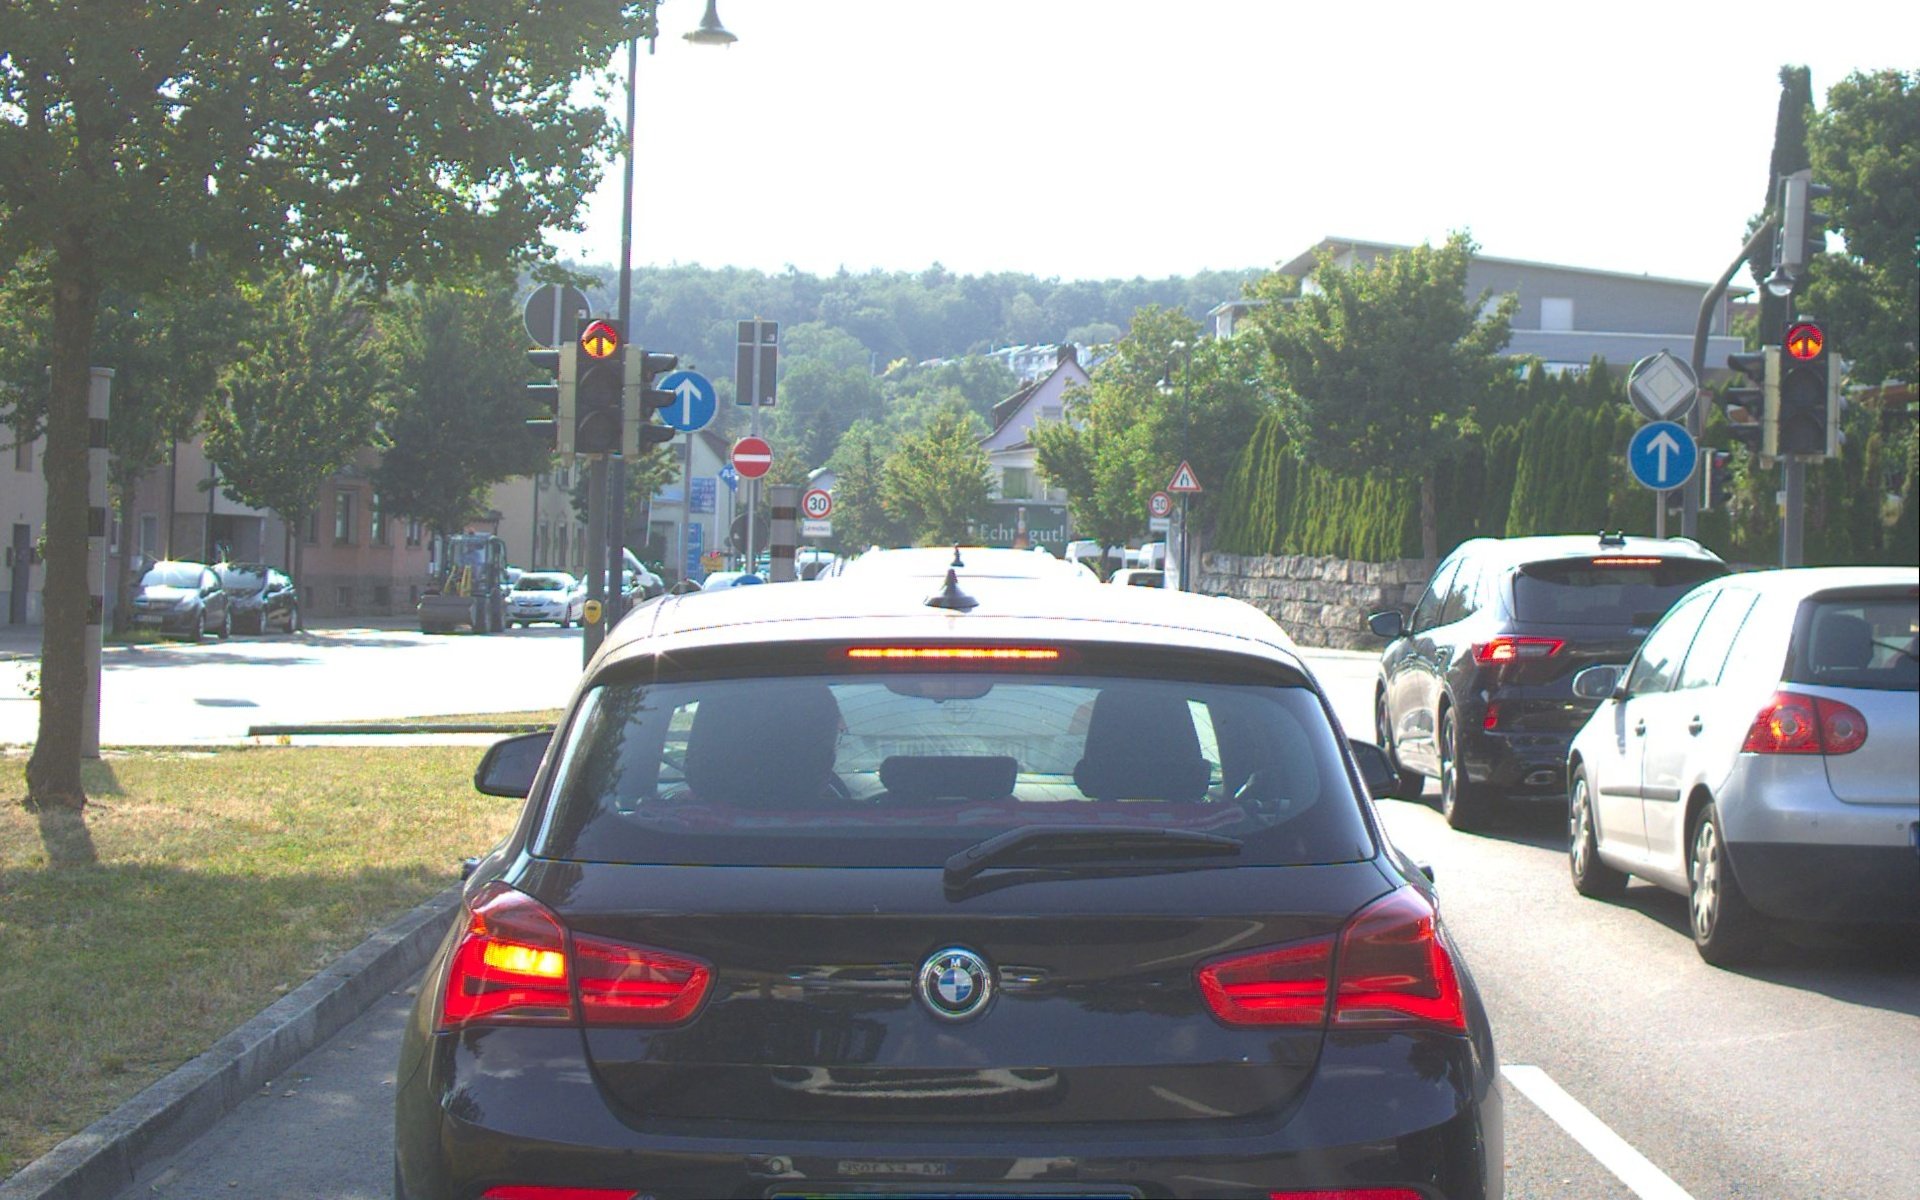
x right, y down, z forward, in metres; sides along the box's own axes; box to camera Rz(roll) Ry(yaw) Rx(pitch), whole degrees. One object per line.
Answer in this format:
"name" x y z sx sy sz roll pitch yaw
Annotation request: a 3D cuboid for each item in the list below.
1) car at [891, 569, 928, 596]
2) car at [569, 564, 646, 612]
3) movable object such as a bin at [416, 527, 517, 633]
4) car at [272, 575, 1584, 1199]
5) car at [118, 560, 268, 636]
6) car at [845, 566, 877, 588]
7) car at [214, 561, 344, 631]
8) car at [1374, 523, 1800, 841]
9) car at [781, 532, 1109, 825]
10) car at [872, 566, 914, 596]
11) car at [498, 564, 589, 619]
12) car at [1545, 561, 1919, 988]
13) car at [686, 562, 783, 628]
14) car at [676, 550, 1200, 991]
"car" -2.770 -0.995 190.969 1.737 1.296 3.799 5 1 2
"car" -10.824 -0.384 105.774 1.737 1.296 3.799 5 1 2
"movable object such as a bin" -11.663 -0.494 81.468 1.736 2.433 4.450 0 1 0
"car" -0.037 0.679 6.853 1.788 1.393 4.281 -1 1 0
"car" -14.936 -0.059 67.147 1.737 1.296 4.000 5 1 3
"car" -6.507 -1.535 226.945 1.737 1.296 3.799 5 1 2
"car" -14.514 -0.116 73.423 1.737 1.296 4.000 5 1 2
"car" 3.529 0.400 20.018 1.761 1.650 3.903 -1 1 0
"car" -0.079 0.395 21.038 1.788 1.588 4.281 -1 1 0
"car" -3.252 -0.932 167.425 1.737 1.296 3.799 5 1 2
"car" -11.180 -0.241 92.489 1.737 1.296 3.799 5 1 2
"car" 3.556 0.578 13.736 1.761 1.421 3.903 -1 1 0
"car" -5.286 -0.132 80.934 1.839 1.477 4.000 1 1 3
"car" -0.073 0.559 13.999 1.788 1.488 4.281 -1 1 0
